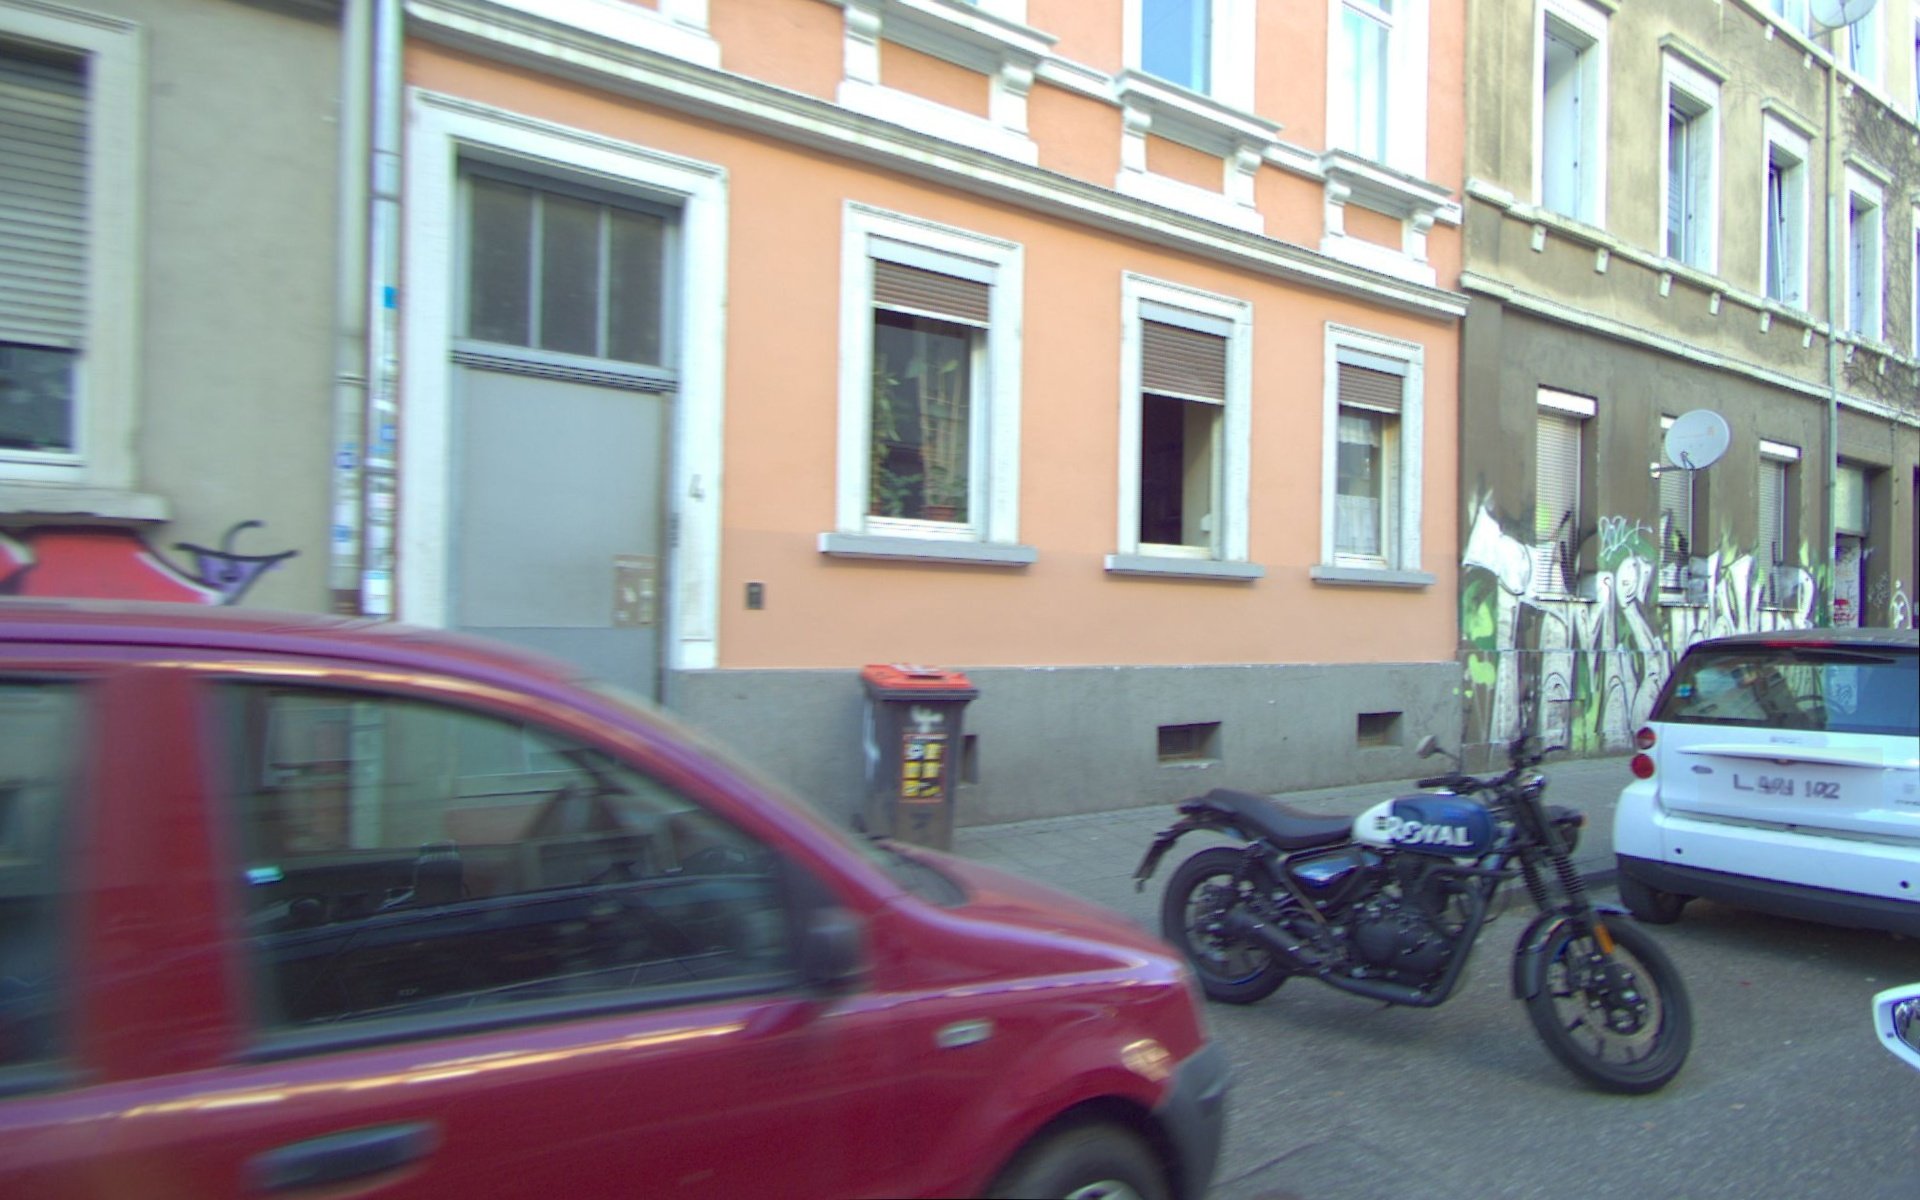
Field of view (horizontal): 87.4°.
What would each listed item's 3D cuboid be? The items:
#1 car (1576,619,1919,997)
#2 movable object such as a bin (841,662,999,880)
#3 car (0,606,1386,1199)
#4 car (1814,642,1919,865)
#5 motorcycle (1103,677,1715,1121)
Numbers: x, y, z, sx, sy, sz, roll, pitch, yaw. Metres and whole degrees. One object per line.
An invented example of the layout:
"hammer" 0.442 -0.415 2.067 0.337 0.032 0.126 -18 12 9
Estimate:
"car" 4.921 0.915 5.439 2.930 1.569 1.669 2 -2 -35
"movable object such as a bin" -0.246 0.919 5.692 0.652 1.063 0.776 1 2 -22
"car" -1.066 0.780 1.905 3.570 1.512 1.671 2 -1 -31
"car" 8.337 1.069 7.594 4.156 1.492 1.670 2 -3 -32
"motorcycle" 1.666 0.969 3.956 2.049 1.143 0.787 2 1 38
